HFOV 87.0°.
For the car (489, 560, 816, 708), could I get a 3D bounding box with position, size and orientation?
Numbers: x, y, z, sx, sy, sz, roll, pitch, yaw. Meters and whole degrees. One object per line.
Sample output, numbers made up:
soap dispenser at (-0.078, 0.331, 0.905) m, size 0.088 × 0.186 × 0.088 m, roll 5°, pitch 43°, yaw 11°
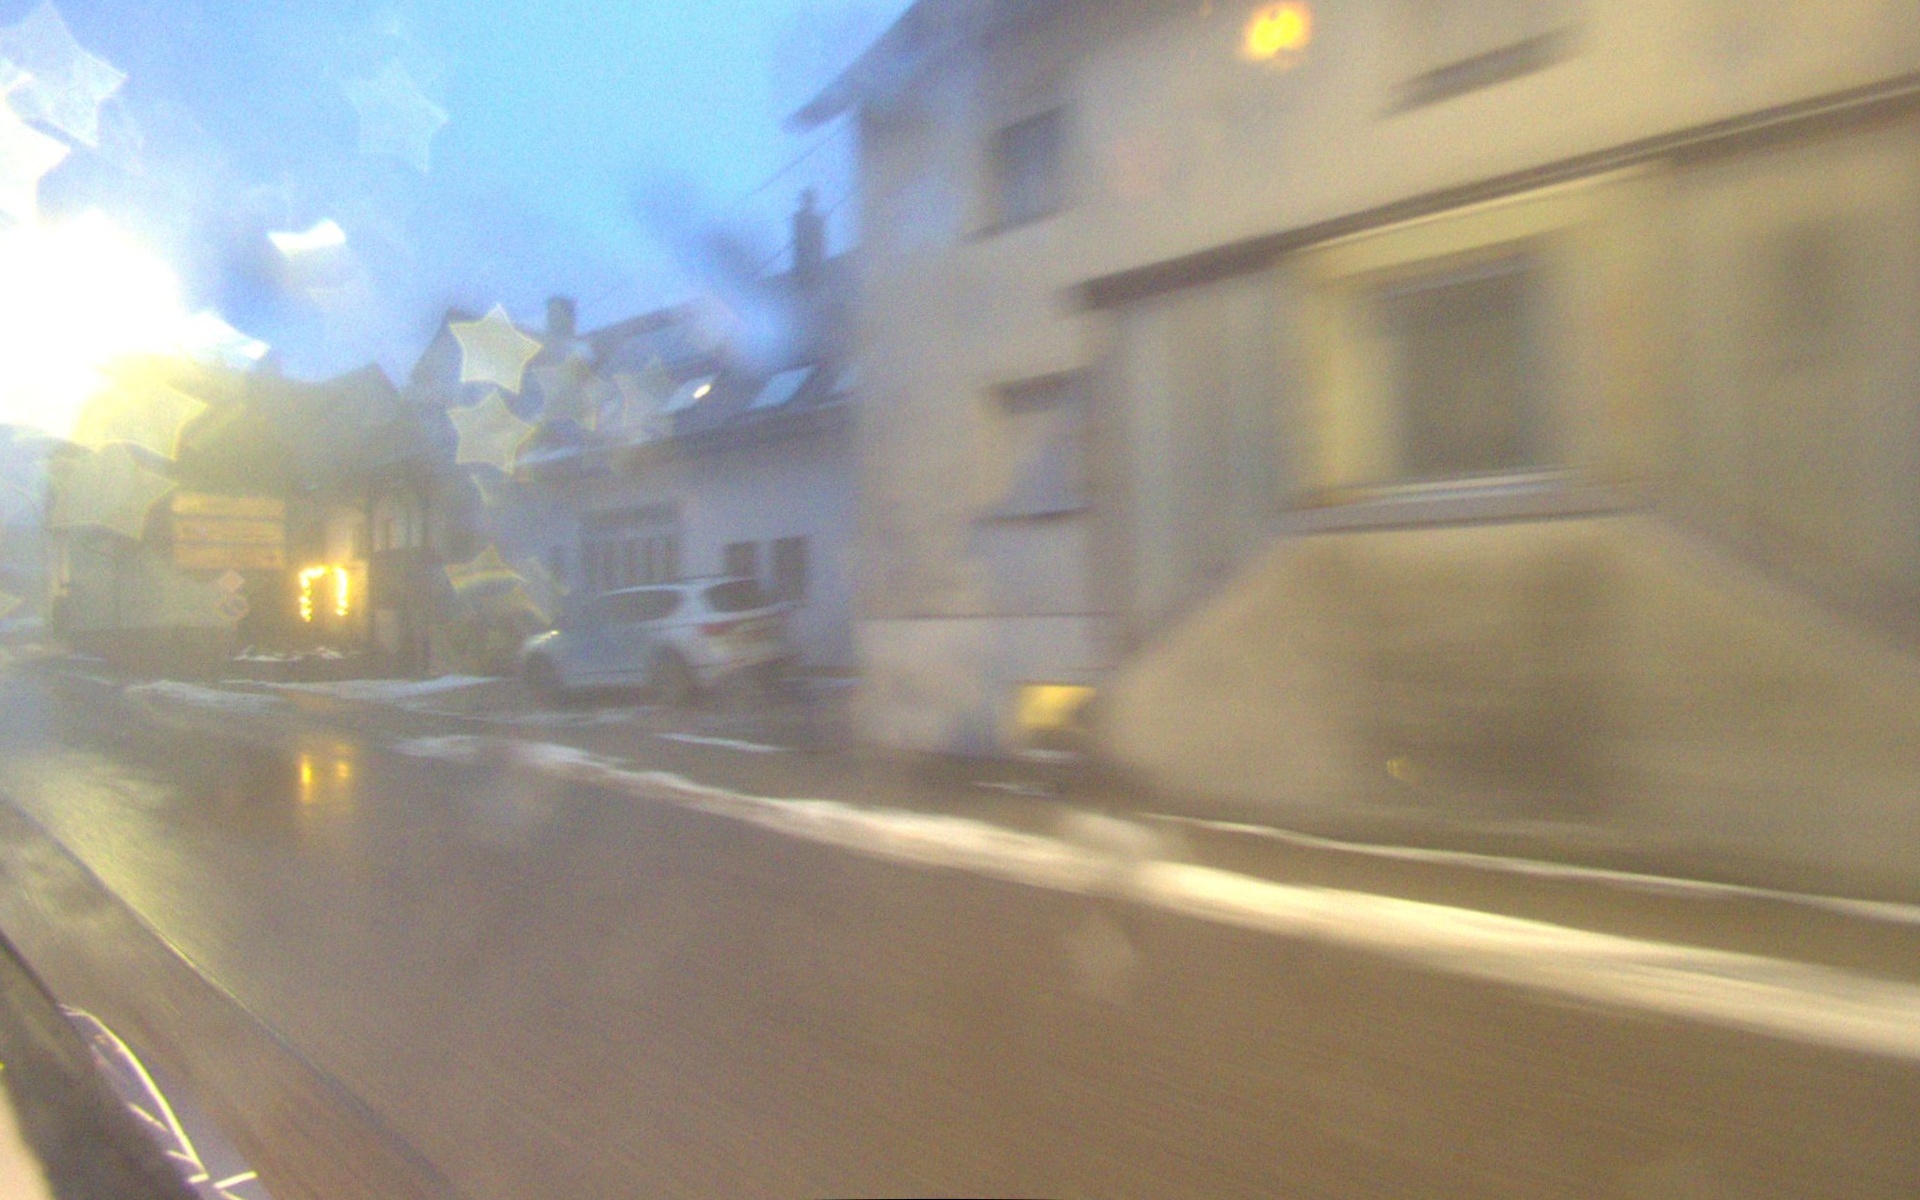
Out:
car at (-4.496, 0.524, 14.569) m, size 4.623 × 1.749 × 1.752 m, roll -4°, pitch 2°, yaw 31°
